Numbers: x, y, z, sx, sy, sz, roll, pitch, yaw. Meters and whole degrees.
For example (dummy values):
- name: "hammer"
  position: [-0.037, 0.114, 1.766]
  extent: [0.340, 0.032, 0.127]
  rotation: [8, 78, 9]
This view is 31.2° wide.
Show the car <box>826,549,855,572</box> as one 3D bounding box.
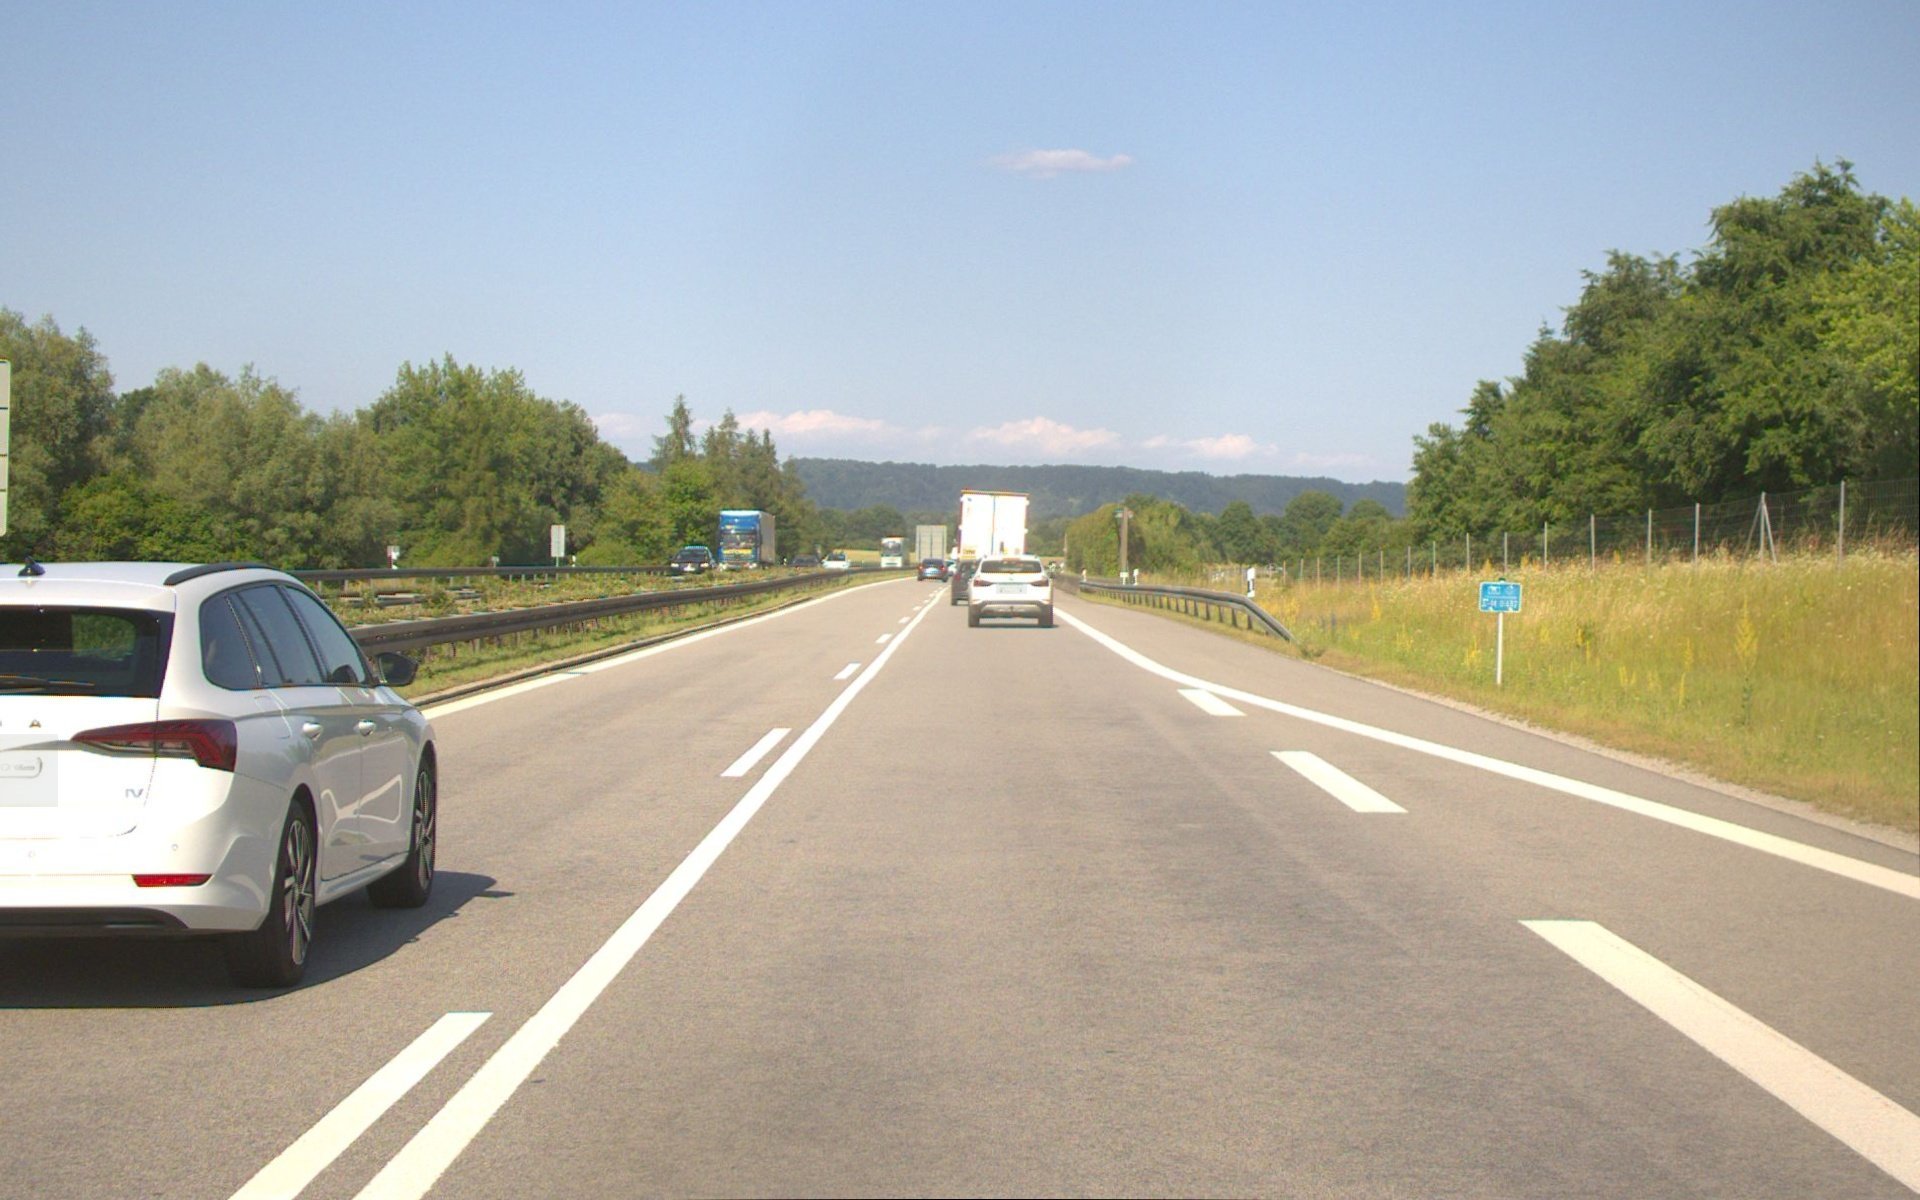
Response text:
- name: "car"
  position: [-8.736, -2.923, 251.742]
  extent: [1.993, 1.659, 4.634]
  rotation: [0, 1, 0]

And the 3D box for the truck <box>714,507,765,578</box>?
- name: "truck"
  position: [-13.623, -3.537, 212.802]
  extent: [2.740, 4.288, 6.335]
  rotation: [1, 1, -1]

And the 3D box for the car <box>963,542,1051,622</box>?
- name: "car"
  position: [0.979, -0.409, 73.072]
  extent: [1.685, 1.490, 4.987]
  rotation: [4, 1, 0]

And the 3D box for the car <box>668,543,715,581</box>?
- name: "car"
  position: [-12.826, -1.832, 164.343]
  extent: [1.849, 1.797, 4.871]
  rotation: [-1, 1, 0]

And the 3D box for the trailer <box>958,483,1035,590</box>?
- name: "trailer"
  position: [1.505, -2.489, 135.545]
  extent: [2.818, 3.953, 14.160]
  rotation: [1, 1, 1]

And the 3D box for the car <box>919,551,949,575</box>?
- name: "car"
  position: [-1.636, -2.321, 217.389]
  extent: [1.771, 1.416, 4.495]
  rotation: [3, 1, 1]

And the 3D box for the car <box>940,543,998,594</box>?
- name: "car"
  position: [0.296, -0.987, 106.581]
  extent: [1.665, 1.449, 4.544]
  rotation: [3, 1, 1]

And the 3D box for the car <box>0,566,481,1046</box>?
- name: "car"
  position: [-3.141, 0.598, 13.067]
  extent: [1.840, 1.416, 5.254]
  rotation: [0, 1, 1]
